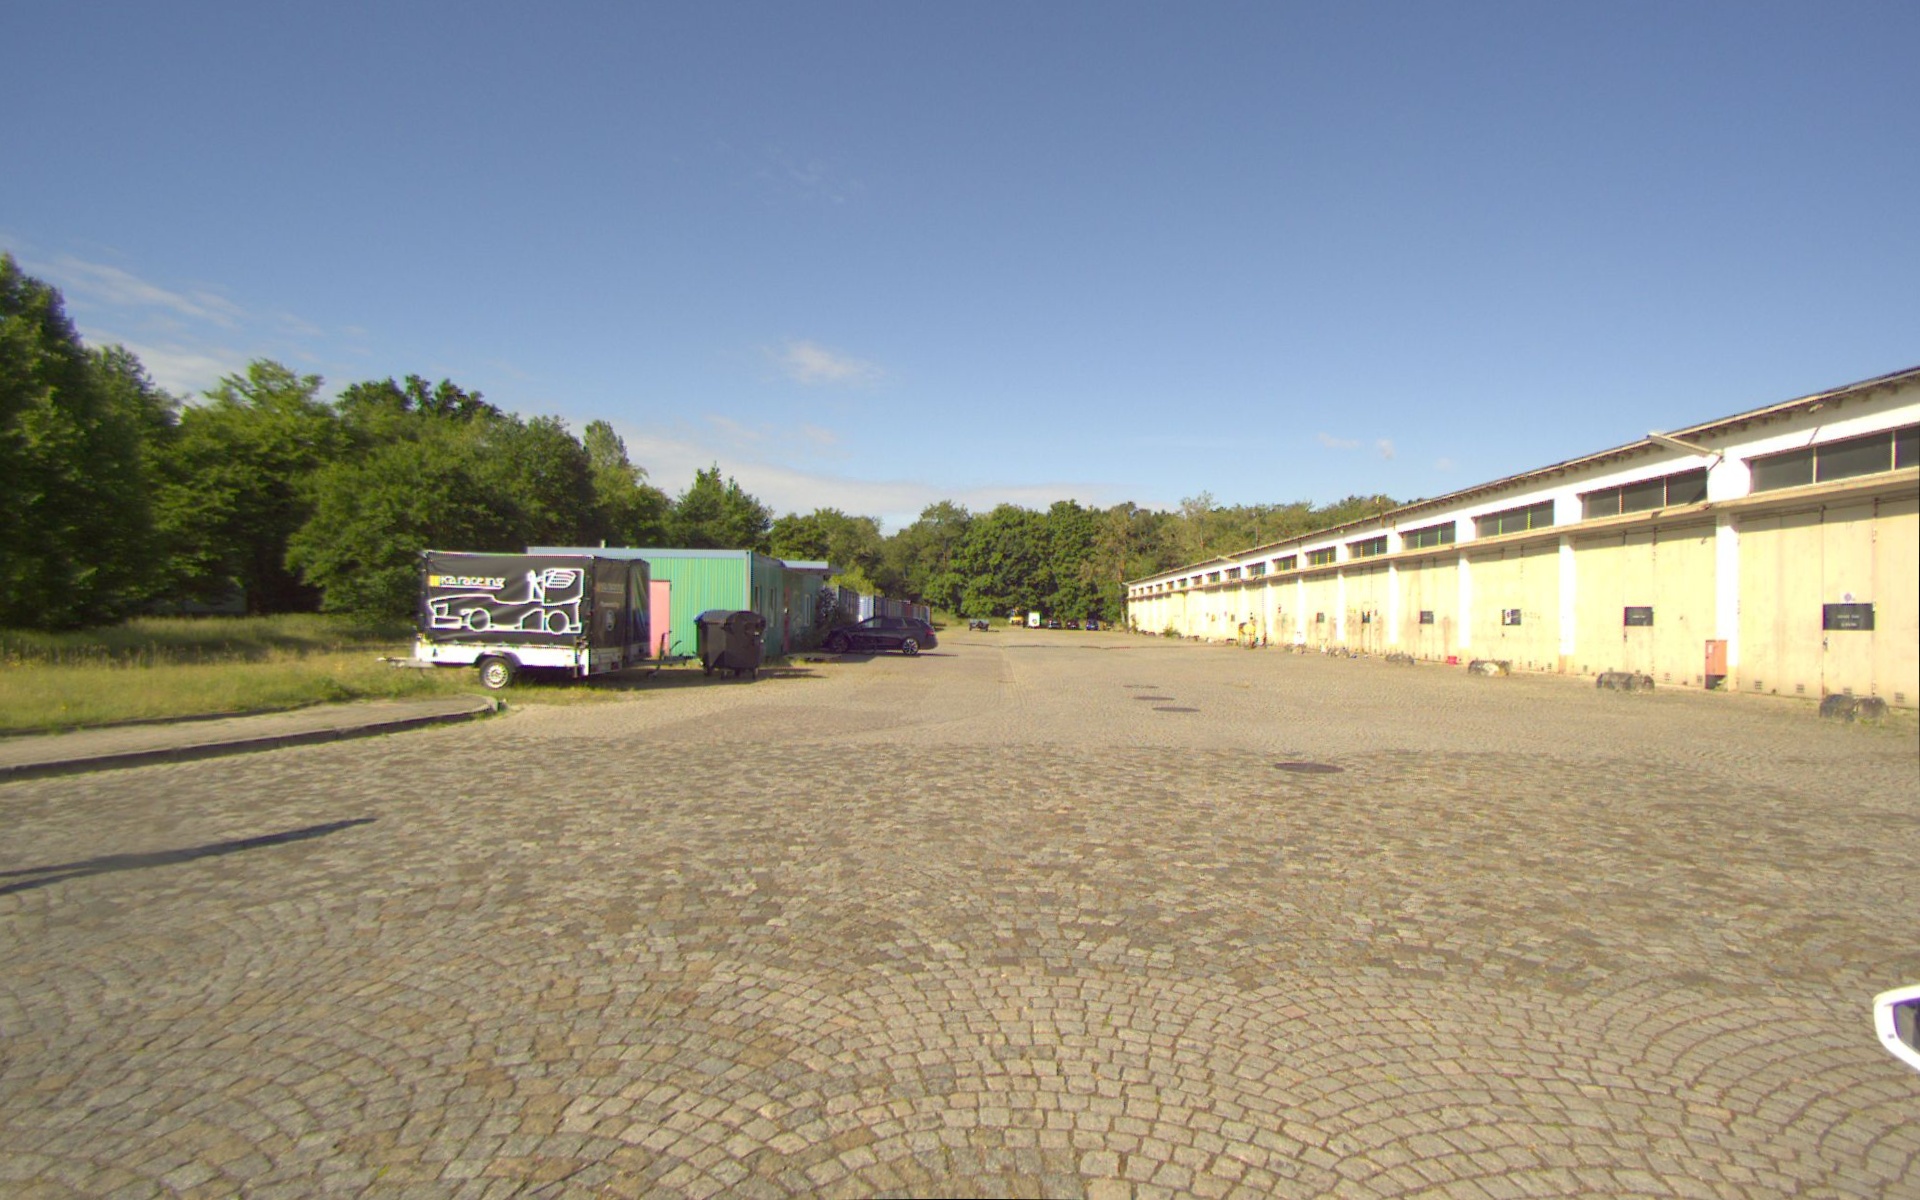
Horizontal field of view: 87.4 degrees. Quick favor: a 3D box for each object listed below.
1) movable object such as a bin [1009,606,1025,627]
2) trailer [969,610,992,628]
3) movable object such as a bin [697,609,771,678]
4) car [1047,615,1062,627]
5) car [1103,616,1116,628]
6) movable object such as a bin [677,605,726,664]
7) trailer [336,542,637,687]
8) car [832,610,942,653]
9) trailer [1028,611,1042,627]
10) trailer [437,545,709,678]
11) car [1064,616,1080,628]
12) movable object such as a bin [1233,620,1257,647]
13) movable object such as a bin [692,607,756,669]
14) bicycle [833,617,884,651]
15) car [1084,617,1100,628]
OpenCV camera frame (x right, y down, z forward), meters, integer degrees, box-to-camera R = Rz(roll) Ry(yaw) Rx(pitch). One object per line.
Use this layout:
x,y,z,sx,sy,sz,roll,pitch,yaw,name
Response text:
7.801,2.271,137.353,1.960,2.652,4.002,3,-1,6,movable object such as a bin
2.443,2.242,118.111,2.366,2.040,4.175,3,-1,4,trailer
-4.856,0.917,21.542,1.039,1.404,1.348,2,-1,-41,movable object such as a bin
12.735,2.838,135.202,1.829,1.606,4.003,1,-1,9,car
20.291,3.027,136.469,1.656,1.584,4.003,1,-1,9,car
-6.530,0.865,25.472,1.069,1.456,1.406,1,-1,-10,movable object such as a bin
-8.399,0.265,18.122,4.379,2.303,2.014,2,-1,2,trailer
-2.735,1.185,37.809,3.985,1.431,1.731,2,-1,-4,car
10.236,2.600,136.990,1.763,2.118,3.974,1,-1,6,trailer
-7.787,0.245,20.611,4.762,2.422,1.942,2,-1,-4,trailer
15.131,2.965,135.307,1.959,1.482,4.003,1,-1,9,car
14.648,1.724,51.652,0.810,1.349,1.280,1,-1,-3,movable object such as a bin
-5.522,0.883,23.608,1.062,1.404,1.370,1,-1,5,movable object such as a bin
-3.643,1.224,36.167,1.679,1.116,0.674,3,-1,2,bicycle
17.787,3.029,135.337,1.959,1.439,4.003,1,-1,9,car
